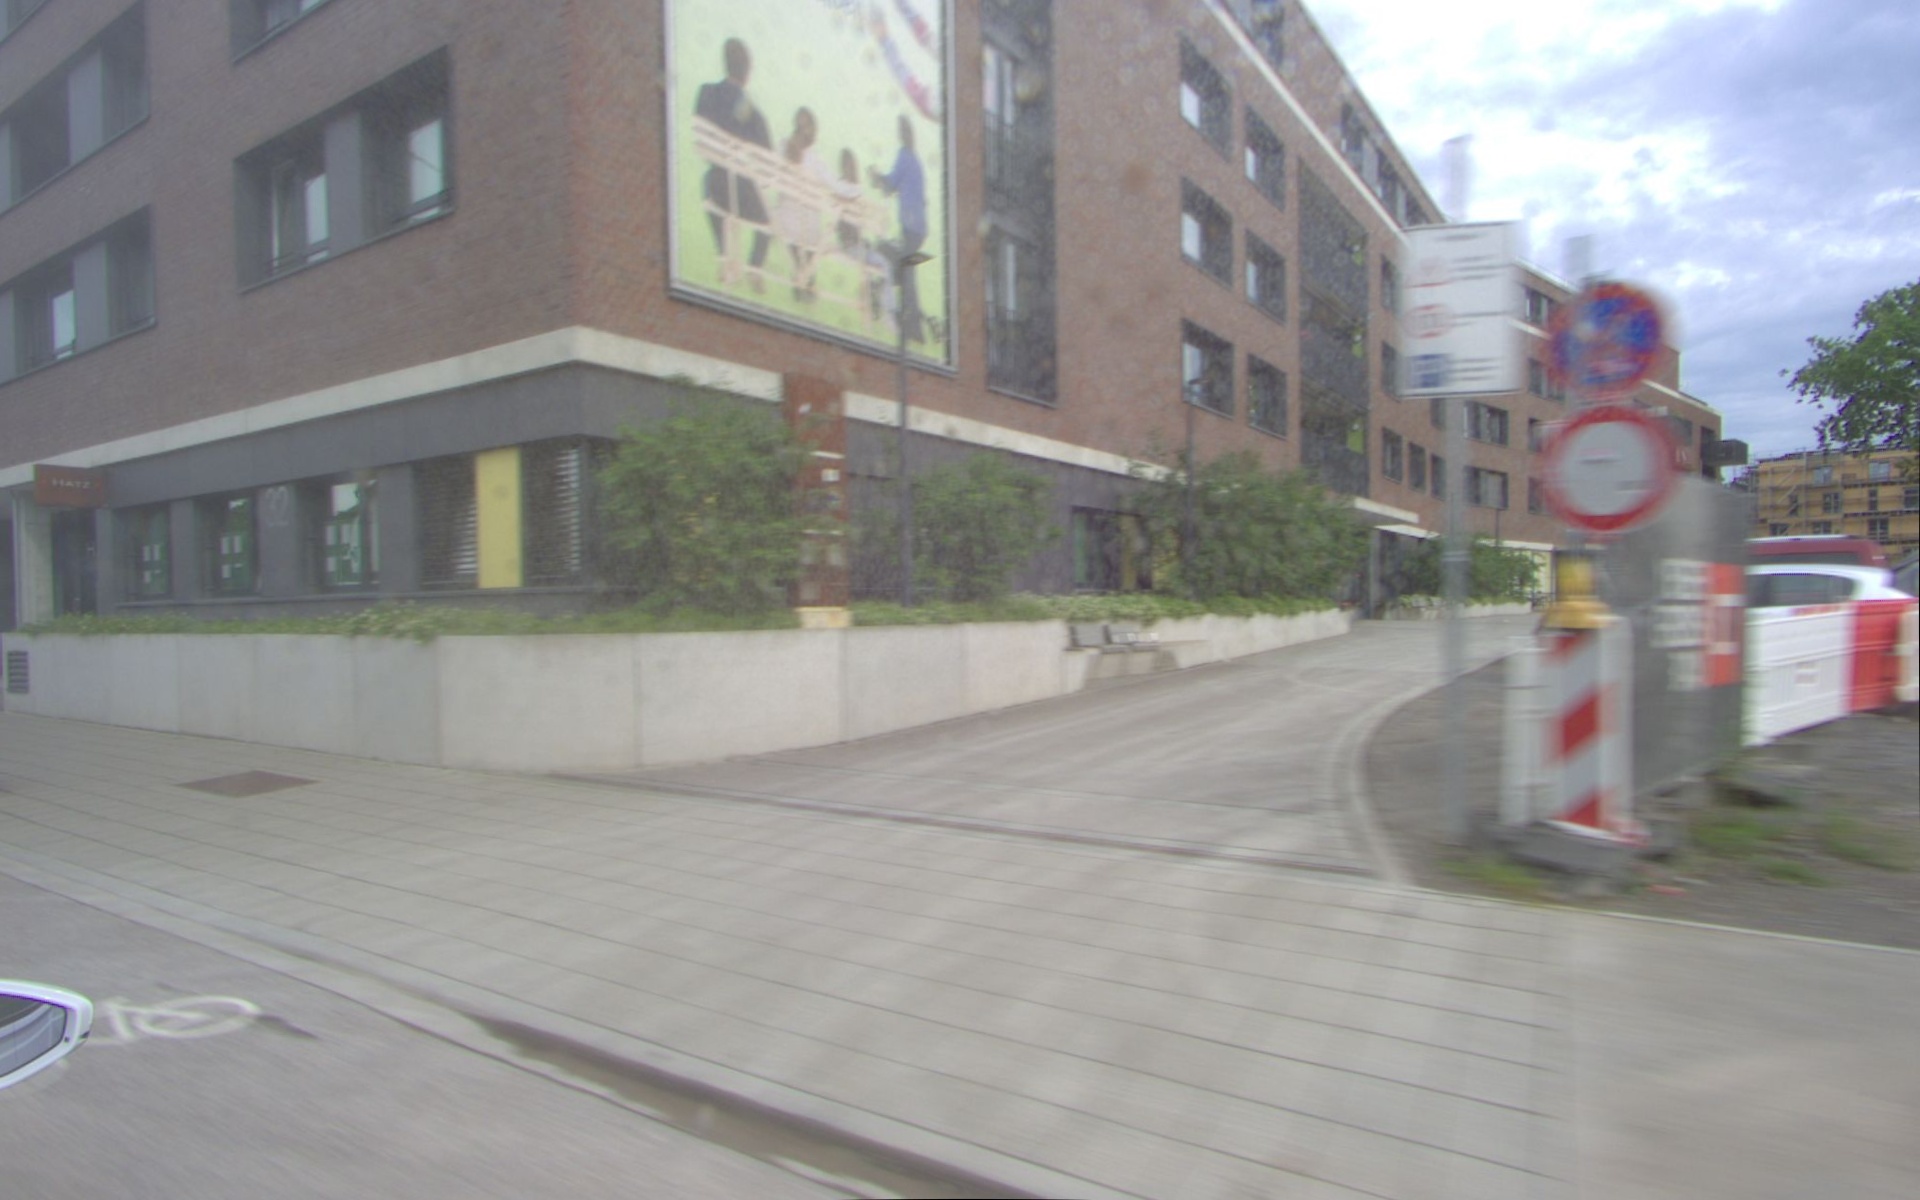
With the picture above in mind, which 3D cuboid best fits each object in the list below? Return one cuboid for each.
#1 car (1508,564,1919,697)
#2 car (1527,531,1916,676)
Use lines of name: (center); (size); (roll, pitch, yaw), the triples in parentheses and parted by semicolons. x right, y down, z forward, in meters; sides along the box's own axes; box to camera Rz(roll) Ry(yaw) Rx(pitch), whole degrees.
car: (9.257, 0.344, 12.430); (4.282, 1.437, 1.760); (-1, 1, 30)
car: (10.919, 0.061, 14.845); (4.355, 1.870, 1.919); (-1, 1, 31)
